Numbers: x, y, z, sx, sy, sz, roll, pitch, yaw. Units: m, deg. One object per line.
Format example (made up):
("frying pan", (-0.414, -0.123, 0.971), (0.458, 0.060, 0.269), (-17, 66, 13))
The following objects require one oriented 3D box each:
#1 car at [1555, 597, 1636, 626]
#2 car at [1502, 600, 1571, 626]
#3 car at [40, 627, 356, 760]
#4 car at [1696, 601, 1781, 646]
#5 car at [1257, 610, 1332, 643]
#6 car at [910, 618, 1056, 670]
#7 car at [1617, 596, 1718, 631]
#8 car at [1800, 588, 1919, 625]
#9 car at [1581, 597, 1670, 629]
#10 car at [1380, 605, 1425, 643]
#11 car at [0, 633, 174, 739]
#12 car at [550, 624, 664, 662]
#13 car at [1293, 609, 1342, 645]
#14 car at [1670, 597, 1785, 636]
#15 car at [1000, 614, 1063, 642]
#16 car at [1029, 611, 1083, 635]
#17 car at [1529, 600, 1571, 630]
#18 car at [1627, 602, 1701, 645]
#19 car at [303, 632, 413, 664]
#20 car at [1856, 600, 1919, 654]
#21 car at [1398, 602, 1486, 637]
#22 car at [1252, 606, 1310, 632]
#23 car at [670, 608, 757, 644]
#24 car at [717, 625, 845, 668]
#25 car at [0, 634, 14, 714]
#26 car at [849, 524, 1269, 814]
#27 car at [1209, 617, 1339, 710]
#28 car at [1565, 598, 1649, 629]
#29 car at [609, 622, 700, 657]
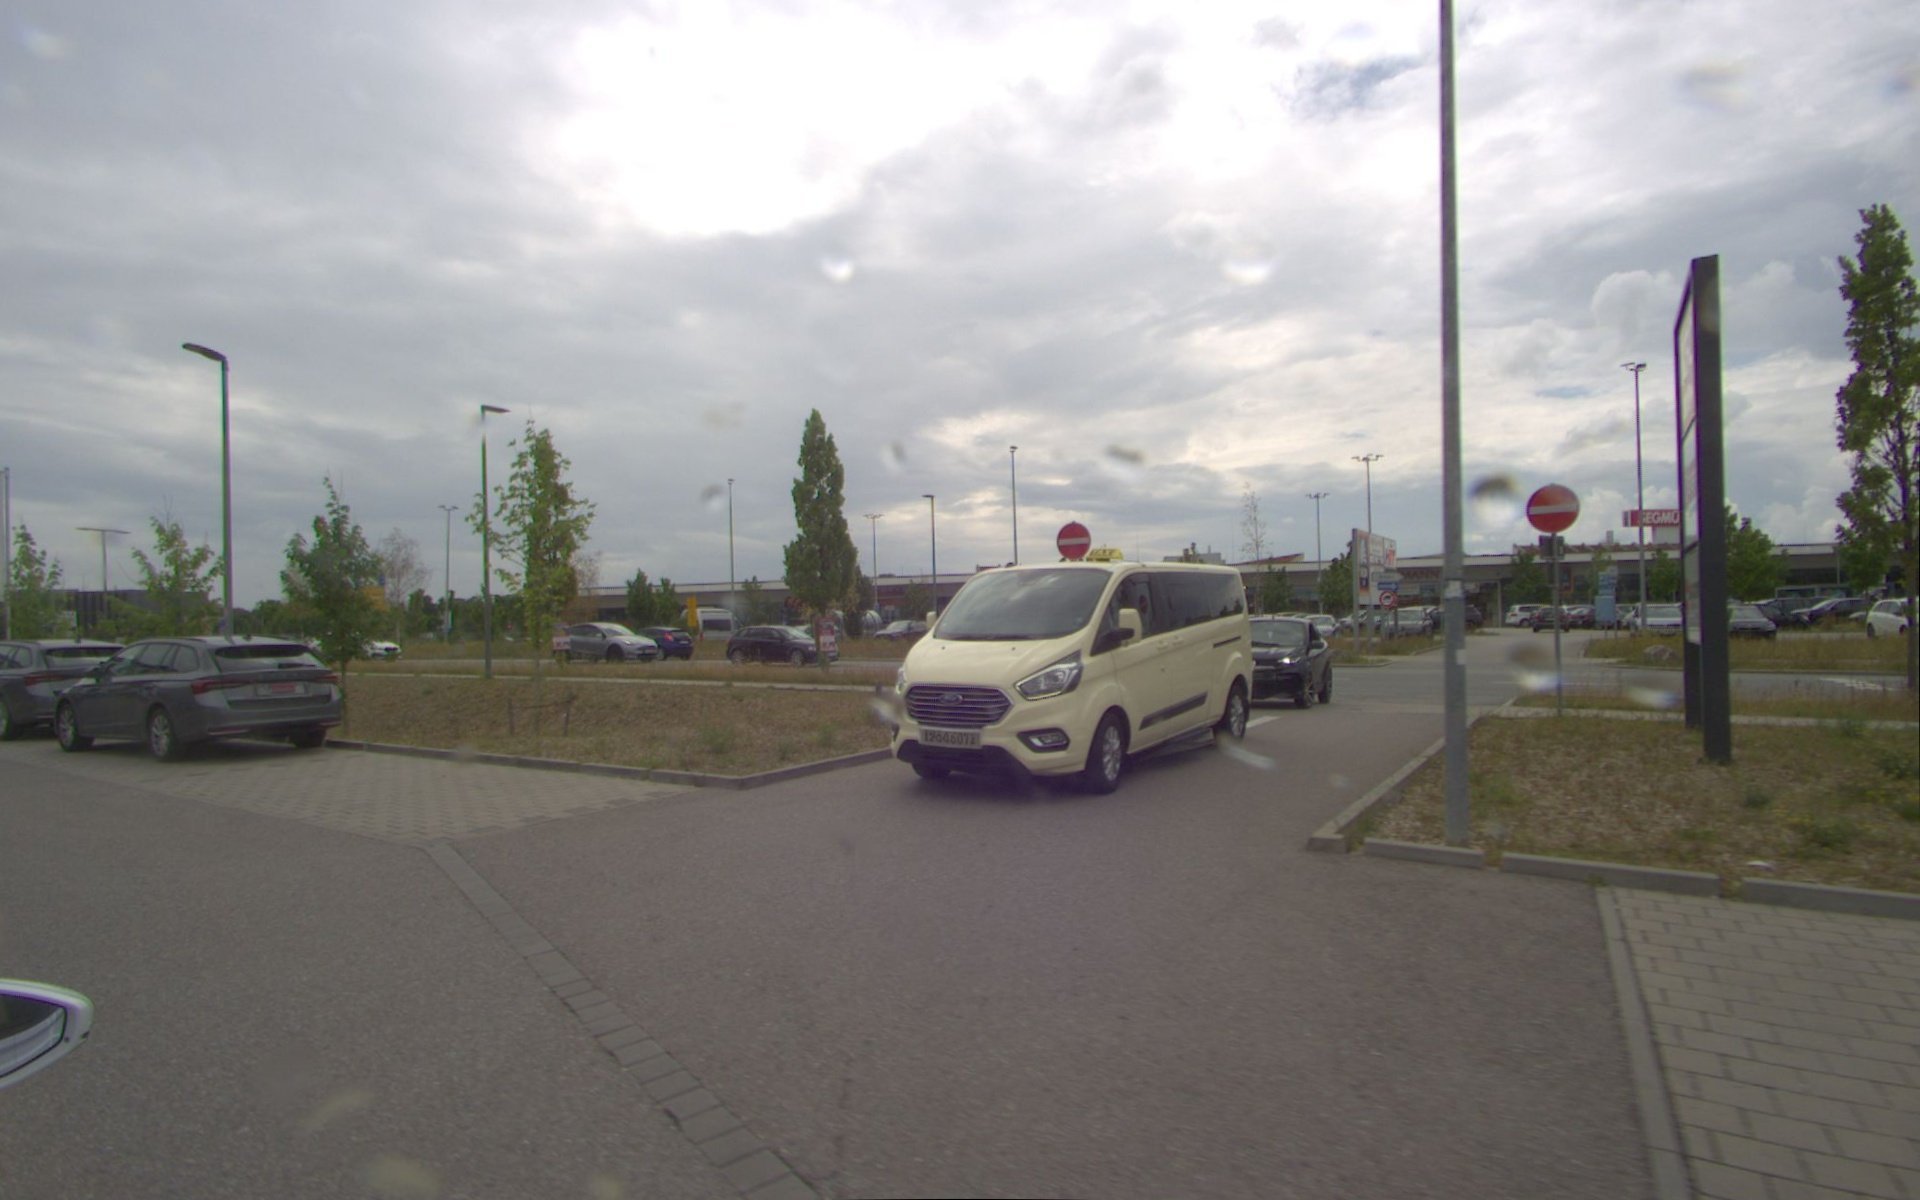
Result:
("car", (42.043, 0.756, 66.385), (4.110, 1.862, 1.997), (-1, 1, 16))
("car", (43.088, 0.949, 74.923), (4.110, 1.862, 1.997), (-1, 1, 16))
("car", (-9.992, 1.118, 13.058), (4.410, 1.488, 1.749), (-2, -2, 30))
("car", (29.956, 0.871, 38.652), (1.743, 1.560, 4.040), (-1, 0, 25))
("car", (19.989, 1.568, 60.032), (4.110, 1.862, 1.997), (-1, 1, 16))
("car", (0.700, 1.363, 31.256), (4.221, 1.518, 1.848), (-1, -1, 30))
("car", (39.322, 0.744, 55.742), (4.110, 1.862, 1.997), (-1, 1, 16))
("car", (46.916, 0.358, 52.283), (4.242, 1.795, 1.997), (-1, 0, 15))
("car", (40.937, 0.796, 61.721), (4.110, 1.862, 1.997), (-1, 1, 16))
("car", (20.091, 1.076, 45.606), (1.743, 1.560, 3.752), (-1, 0, 22))
("car", (-14.721, 1.294, 16.015), (4.406, 1.488, 1.751), (-1, -2, 28))
("car", (-14.196, 1.720, 40.234), (4.487, 1.413, 1.762), (-1, -1, 27))
("car", (17.043, 1.264, 47.602), (1.966, 1.560, 4.043), (-1, 0, 22))
("car", (38.626, 0.842, 50.516), (4.110, 1.862, 1.997), (-1, 1, 16))
("car", (5.070, 1.965, 71.002), (4.110, 1.862, 1.997), (-1, 1, 16))
("car", (7.868, 1.888, 81.836), (4.111, 1.862, 1.997), (-1, 1, 17))
("car", (33.766, 0.823, 57.289), (1.972, 1.560, 4.137), (-1, 0, 32))
("car", (28.151, 0.919, 40.150), (1.743, 1.560, 4.040), (-1, 0, 25))
("car", (-28.188, 2.242, 46.900), (4.474, 1.413, 1.767), (-1, -1, 14))
("car", (34.917, 0.927, 36.344), (1.964, 1.795, 4.313), (-1, 0, 18))
("car", (26.751, 1.078, 55.740), (4.110, 1.862, 1.997), (-1, 1, 16))
("car", (24.245, 1.456, 75.811), (4.110, 1.862, 1.997), (-1, 1, 16))
("car", (-16.316, 1.693, 66.617), (2.306, 2.150, 5.567), (-1, 0, 31))
("car", (-6.227, 1.610, 34.802), (4.153, 1.413, 1.762), (-1, -1, 27))
("car", (-20.111, 1.420, 19.149), (4.044, 1.488, 1.751), (-1, -2, 28))
("car", (1.330, 0.529, 10.021), (1.972, 2.114, 5.200), (0, 0, 34))
("car", (5.158, 0.965, 16.243), (1.444, 1.354, 3.150), (-1, -1, 28))
("car", (41.430, 0.863, 64.218), (4.110, 1.862, 1.997), (-1, 1, 16))
("car", (-13.565, 1.746, 44.481), (3.862, 1.479, 1.653), (-1, 0, 30))
